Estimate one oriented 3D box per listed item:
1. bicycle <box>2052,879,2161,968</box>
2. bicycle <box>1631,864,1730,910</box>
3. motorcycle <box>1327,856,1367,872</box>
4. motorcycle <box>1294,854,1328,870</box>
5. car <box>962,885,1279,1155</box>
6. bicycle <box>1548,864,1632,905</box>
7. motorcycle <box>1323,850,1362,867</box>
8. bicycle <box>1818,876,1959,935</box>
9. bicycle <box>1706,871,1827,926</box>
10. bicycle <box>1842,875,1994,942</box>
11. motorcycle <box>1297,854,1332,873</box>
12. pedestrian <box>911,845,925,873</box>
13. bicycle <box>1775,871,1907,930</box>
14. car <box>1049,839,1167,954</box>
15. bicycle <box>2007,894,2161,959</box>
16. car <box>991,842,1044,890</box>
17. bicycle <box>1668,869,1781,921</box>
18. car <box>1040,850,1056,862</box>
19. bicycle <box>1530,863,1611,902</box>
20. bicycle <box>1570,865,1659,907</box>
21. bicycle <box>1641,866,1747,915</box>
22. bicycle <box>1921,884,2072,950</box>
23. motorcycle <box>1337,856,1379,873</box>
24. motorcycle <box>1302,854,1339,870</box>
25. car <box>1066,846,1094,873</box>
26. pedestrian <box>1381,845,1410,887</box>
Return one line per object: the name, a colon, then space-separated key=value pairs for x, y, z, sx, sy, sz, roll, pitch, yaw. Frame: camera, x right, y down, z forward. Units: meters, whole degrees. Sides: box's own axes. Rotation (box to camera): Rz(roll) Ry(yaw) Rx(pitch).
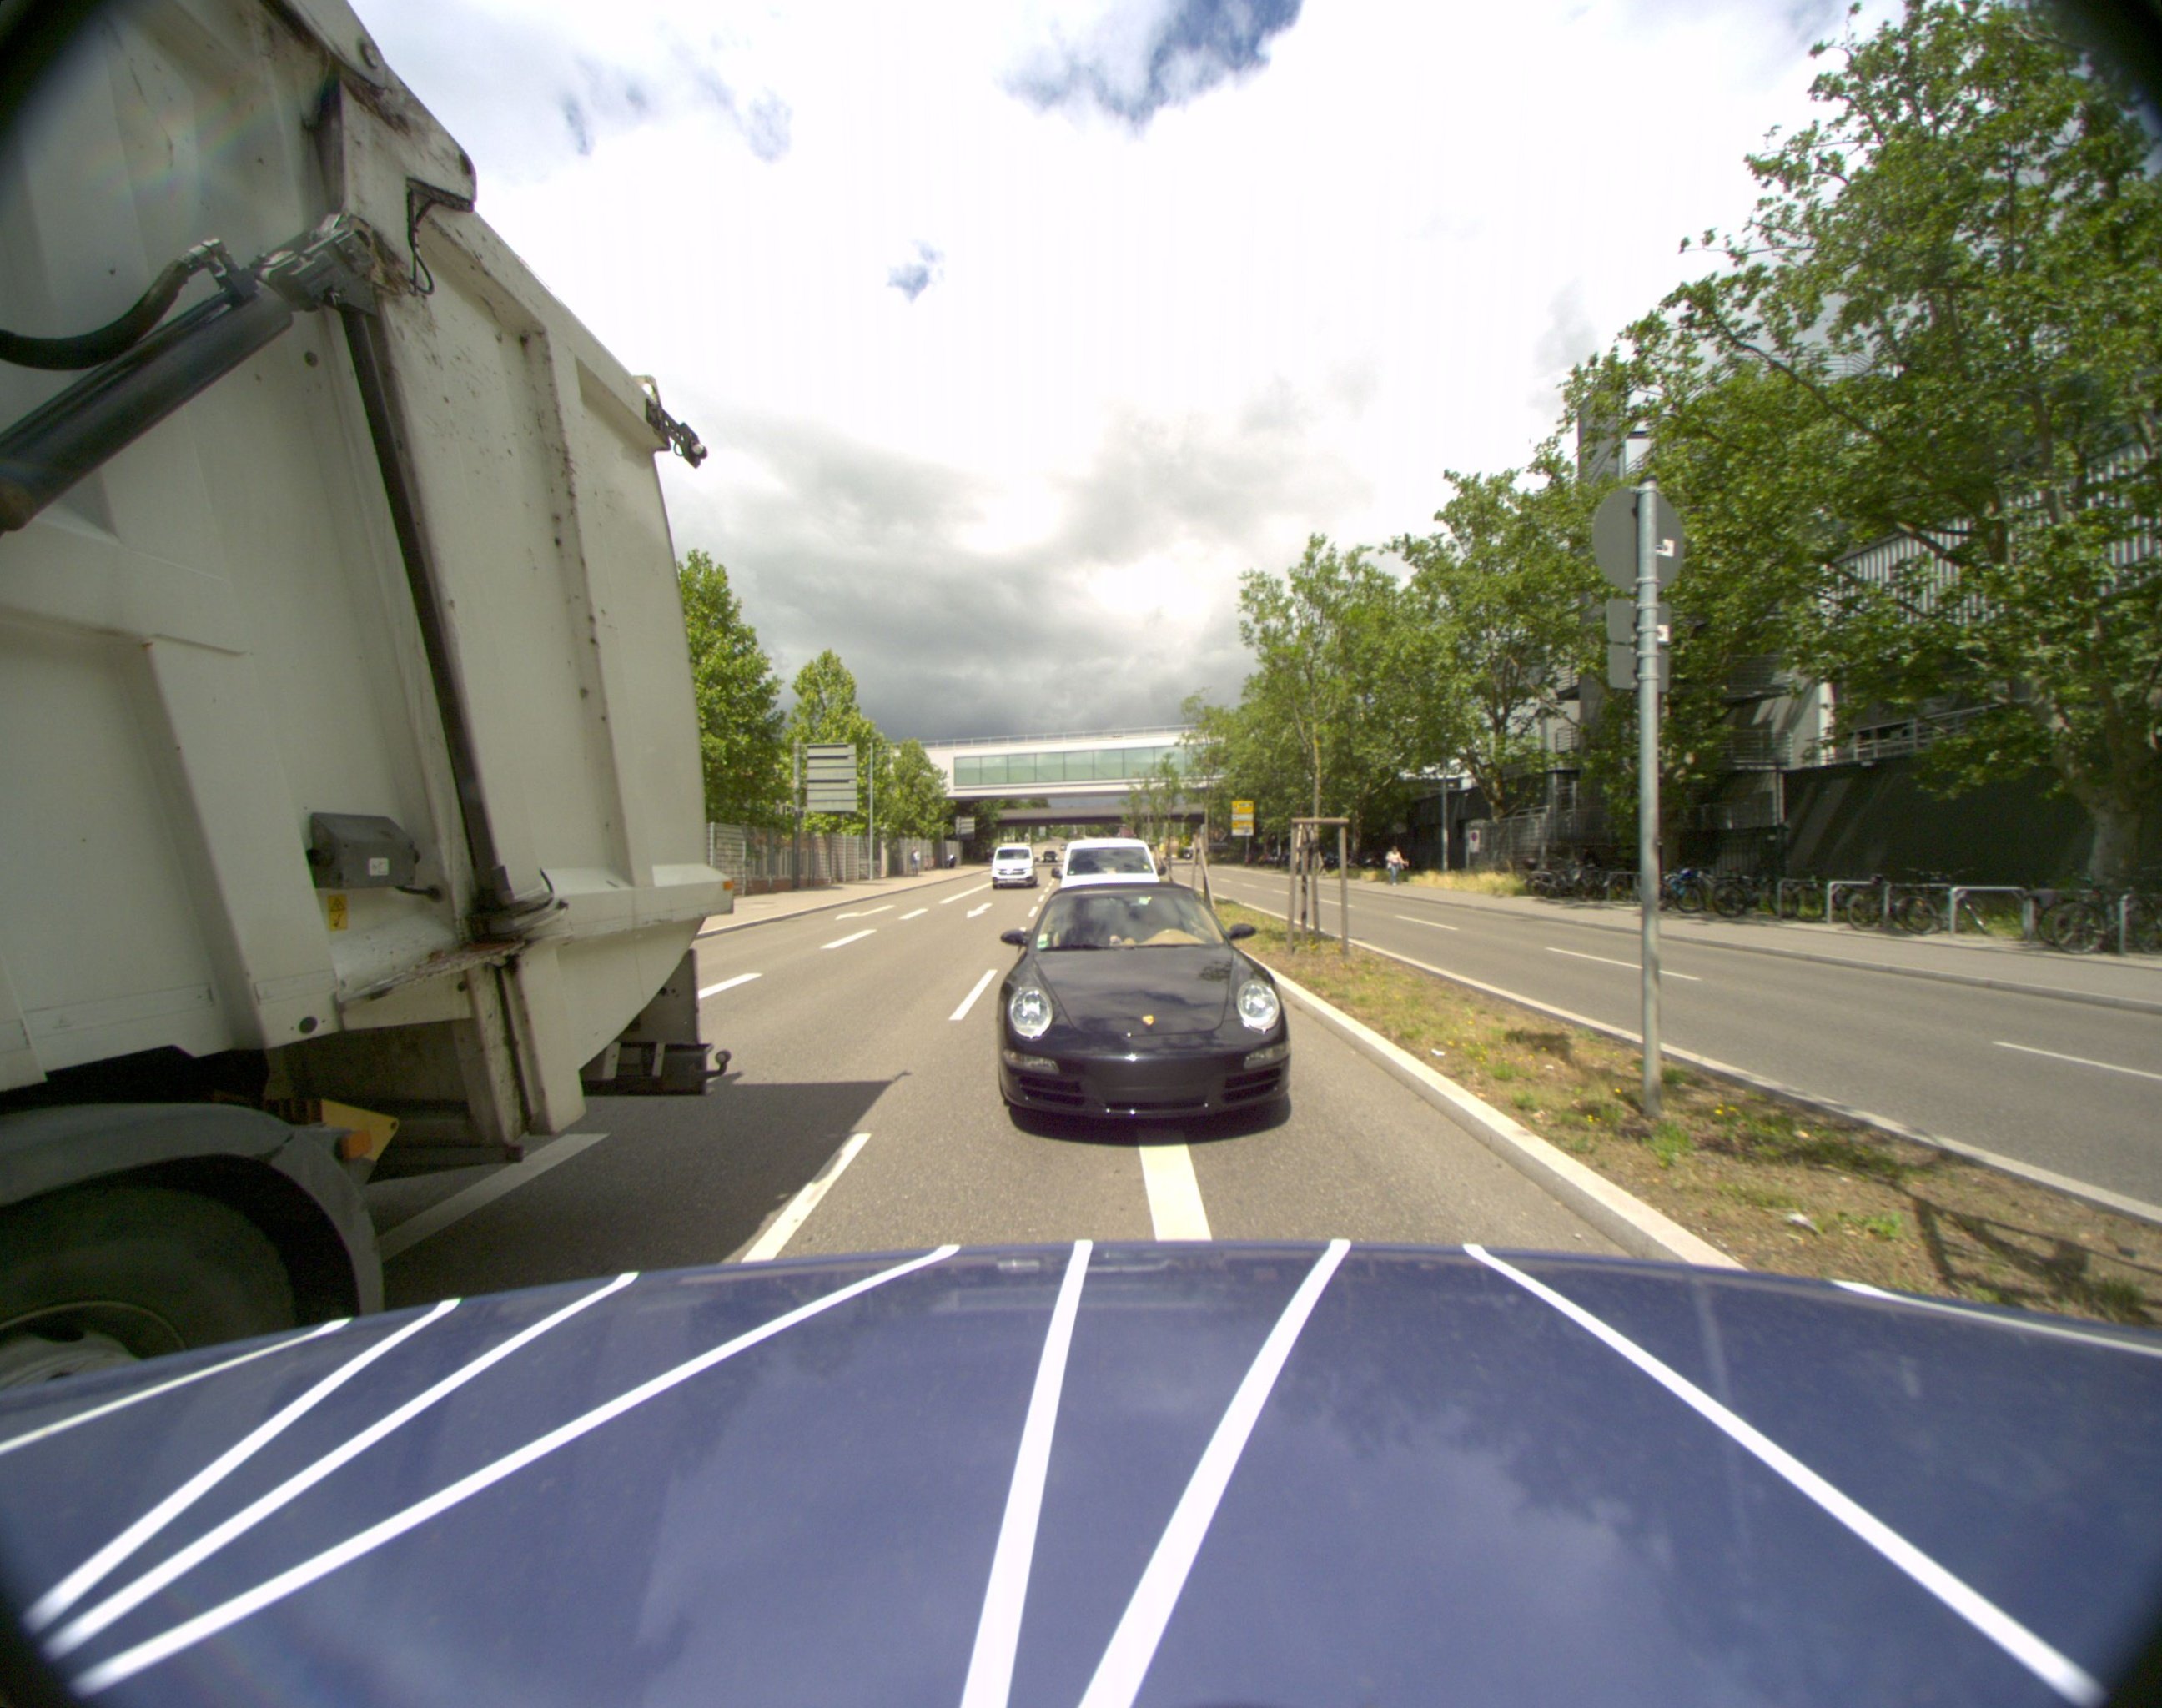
bicycle: x=14.354 y=0.923 z=10.272 sx=1.993 sy=1.121 sz=0.382 roll=-1 pitch=1 yaw=-1
bicycle: x=15.065 y=0.831 z=19.120 sx=2.129 sy=1.104 sz=0.382 roll=-1 pitch=1 yaw=3
motorcycle: x=15.631 y=0.584 z=44.615 sx=2.133 sy=0.880 sz=0.534 roll=-1 pitch=0 yaw=1
motorcycle: x=15.283 y=0.536 z=50.494 sx=2.133 sy=0.963 sz=0.534 roll=-1 pitch=0 yaw=1
car: x=0.244 y=0.996 z=6.083 sx=1.710 sy=1.280 sz=3.806 roll=-1 pitch=0 yaw=1
bicycle: x=14.755 y=0.884 z=22.056 sx=2.129 sy=1.104 sz=0.382 roll=-1 pitch=1 yaw=3
motorcycle: x=15.692 y=0.261 z=45.538 sx=2.133 sy=0.963 sz=0.534 roll=-1 pitch=0 yaw=1
bicycle: x=15.012 y=0.960 z=14.149 sx=2.129 sy=1.025 sz=0.382 roll=-1 pitch=1 yaw=3
bicycle: x=14.502 y=0.932 z=16.095 sx=2.129 sy=1.104 sz=0.382 roll=-1 pitch=1 yaw=3
bicycle: x=14.579 y=0.949 z=13.256 sx=2.129 sy=1.089 sz=0.382 roll=-1 pitch=1 yaw=3
motorcycle: x=15.111 y=0.605 z=49.208 sx=2.133 sy=1.131 sz=0.534 roll=-1 pitch=0 yaw=1
pedestrian: x=-11.289 y=0.373 z=52.714 sx=0.739 sy=1.901 sz=0.658 roll=-2 pitch=1 yaw=-3
bicycle: x=15.043 y=0.916 z=15.056 sx=2.129 sy=1.104 sz=0.382 roll=-1 pitch=1 yaw=3
car: x=0.464 y=0.678 z=14.702 sx=1.862 sy=1.800 sz=4.906 roll=-1 pitch=0 yaw=1
bicycle: x=14.957 y=1.066 z=11.275 sx=1.993 sy=0.886 sz=0.382 roll=-1 pitch=1 yaw=-1
car: x=-2.900 y=0.520 z=35.580 sx=1.925 sy=2.082 sz=4.657 roll=-1 pitch=0 yaw=2
bicycle: x=14.481 y=0.920 z=17.119 sx=2.129 sy=1.104 sz=0.382 roll=-1 pitch=1 yaw=3
car: x=-4.187 y=0.252 z=96.995 sx=1.862 sy=1.369 sz=4.356 roll=-1 pitch=0 yaw=-1
bicycle: x=14.751 y=0.847 z=22.897 sx=2.129 sy=1.104 sz=0.382 roll=-1 pitch=1 yaw=3
bicycle: x=14.824 y=0.898 z=21.133 sx=2.129 sy=1.104 sz=0.382 roll=-1 pitch=1 yaw=3
bicycle: x=14.505 y=0.862 z=18.005 sx=2.129 sy=1.104 sz=0.382 roll=-1 pitch=1 yaw=3
bicycle: x=14.754 y=1.006 z=12.254 sx=1.993 sy=0.992 sz=0.382 roll=-1 pitch=1 yaw=-1
motorcycle: x=15.450 y=0.589 z=42.441 sx=2.133 sy=0.893 sz=0.534 roll=-1 pitch=0 yaw=1
motorcycle: x=15.055 y=0.493 z=47.800 sx=2.133 sy=0.963 sz=0.534 roll=-1 pitch=0 yaw=1
car: x=-0.054 y=0.375 z=54.788 sx=1.862 sy=1.800 sz=4.357 roll=-3 pitch=0 yaw=1
pedestrian: x=12.997 y=0.499 z=31.419 sx=0.900 sy=1.710 sz=0.672 roll=-1 pitch=1 yaw=1
